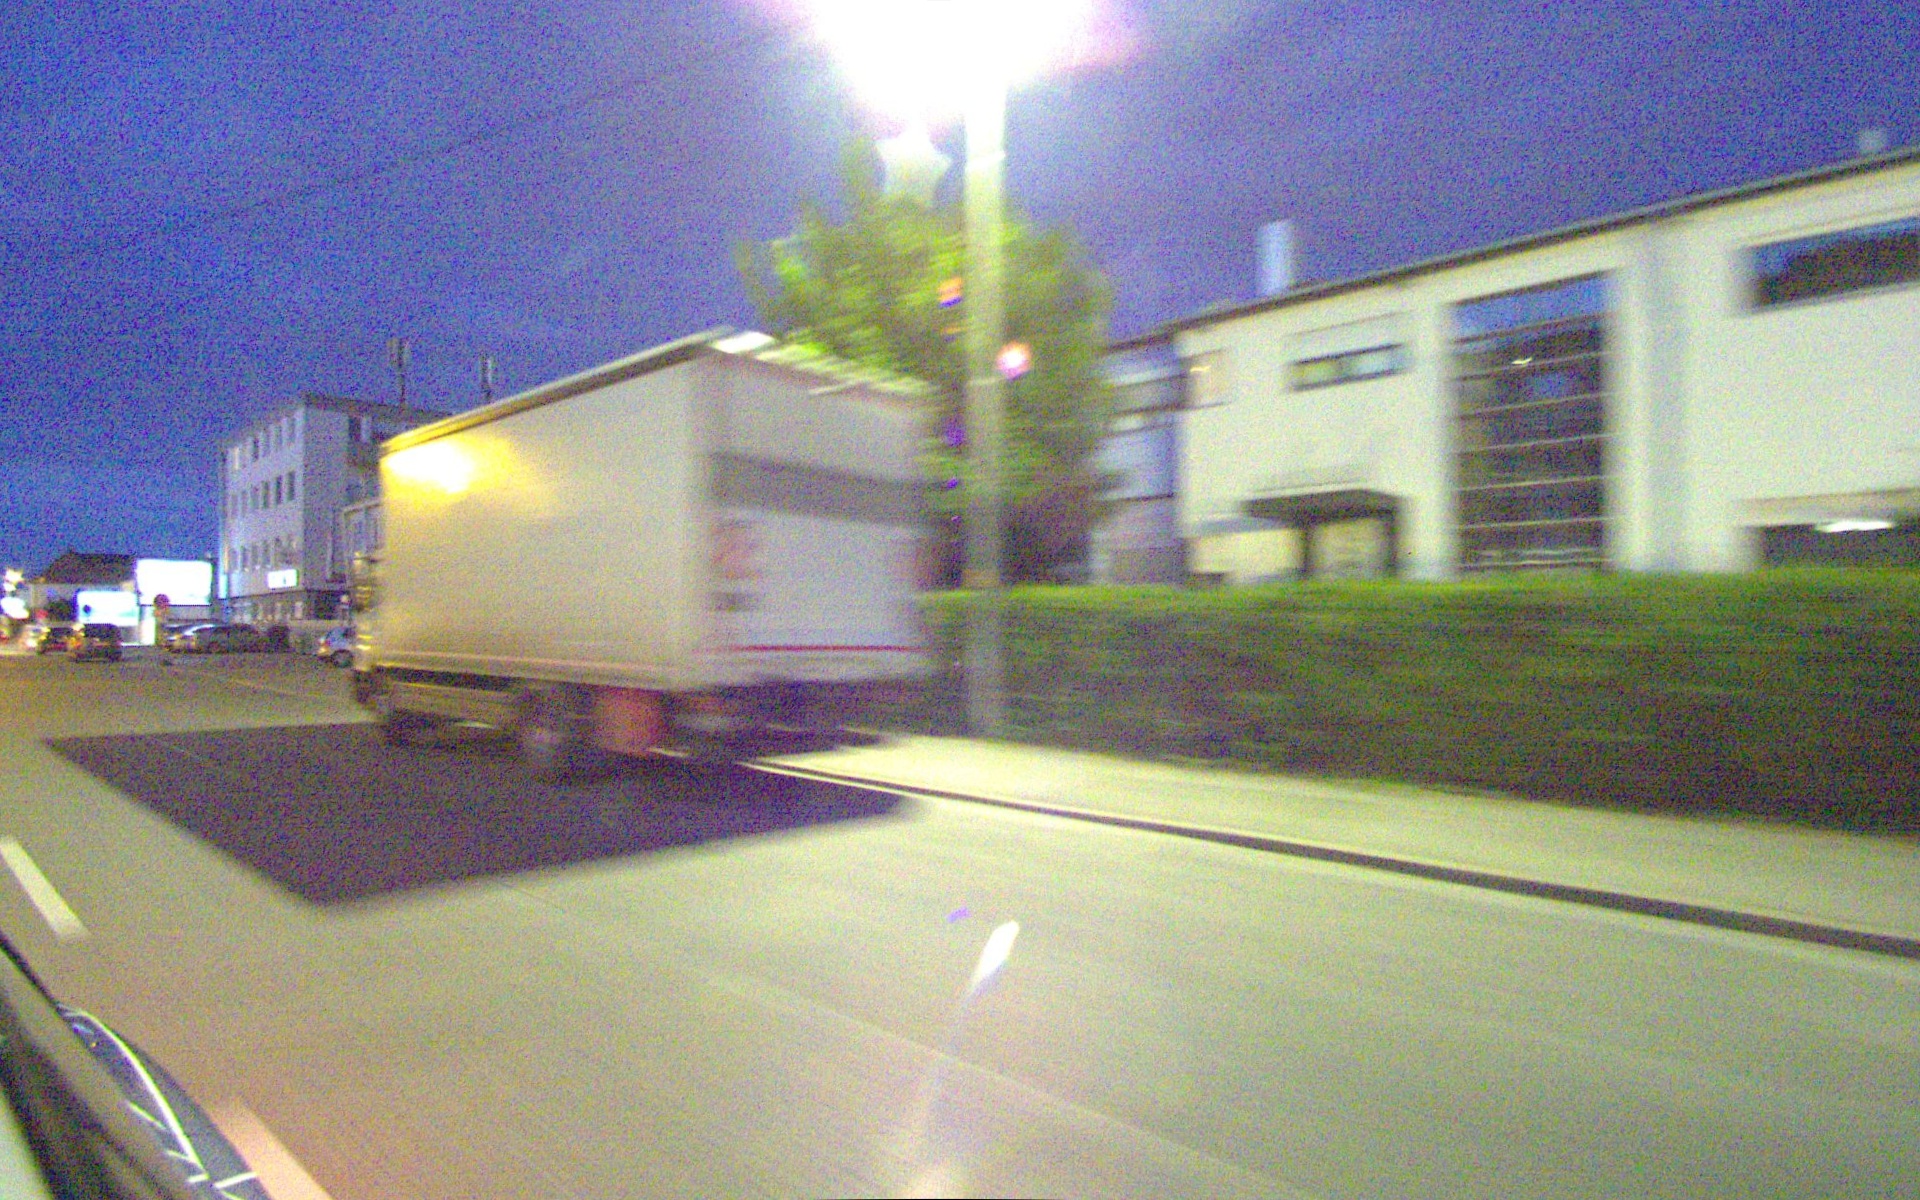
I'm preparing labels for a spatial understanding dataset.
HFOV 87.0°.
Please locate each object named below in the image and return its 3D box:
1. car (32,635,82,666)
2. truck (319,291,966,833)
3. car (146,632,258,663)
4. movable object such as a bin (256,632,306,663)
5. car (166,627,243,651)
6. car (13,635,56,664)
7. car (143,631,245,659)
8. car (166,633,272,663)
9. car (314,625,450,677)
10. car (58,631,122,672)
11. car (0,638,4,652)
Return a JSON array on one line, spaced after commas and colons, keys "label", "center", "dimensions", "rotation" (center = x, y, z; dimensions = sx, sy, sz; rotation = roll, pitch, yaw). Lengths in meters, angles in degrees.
[{"label": "car", "center": [-52.288, 2.885, 58.574], "dimensions": [1.924, 1.701, 4.819], "rotation": [1, -2, -44]}, {"label": "truck", "center": [-4.407, -0.175, 11.801], "dimensions": [9.557, 4.065, 2.717], "rotation": [-2, -2, 42]}, {"label": "car", "center": [-40.949, 2.562, 54.838], "dimensions": [1.981, 1.563, 4.649], "rotation": [-1, -1, 15]}, {"label": "movable object such as a bin", "center": [-34.543, 2.411, 51.504], "dimensions": [1.610, 1.511, 1.836], "rotation": [-2, -2, 44]}, {"label": "car", "center": [-55.921, 2.869, 74.966], "dimensions": [4.348, 1.666, 1.924], "rotation": [1, -2, -44]}, {"label": "car", "center": [-60.258, 3.185, 65.864], "dimensions": [4.879, 1.812, 1.784], "rotation": [-2, -2, 44]}, {"label": "car", "center": [-44.558, 2.599, 59.012], "dimensions": [1.984, 1.572, 4.386], "rotation": [-1, -2, 19]}, {"label": "car", "center": [-38.800, 2.487, 53.132], "dimensions": [1.777, 1.451, 4.393], "rotation": [-1, -1, 15]}, {"label": "car", "center": [-20.594, 1.784, 36.231], "dimensions": [4.071, 1.443, 1.902], "rotation": [-5, 1, -28]}, {"label": "car", "center": [-41.518, 2.426, 48.266], "dimensions": [4.414, 1.863, 1.794], "rotation": [-2, -2, 43]}, {"label": "car", "center": [-98.313, 4.582, 102.730], "dimensions": [1.736, 1.401, 4.311], "rotation": [1, -2, -45]}]
